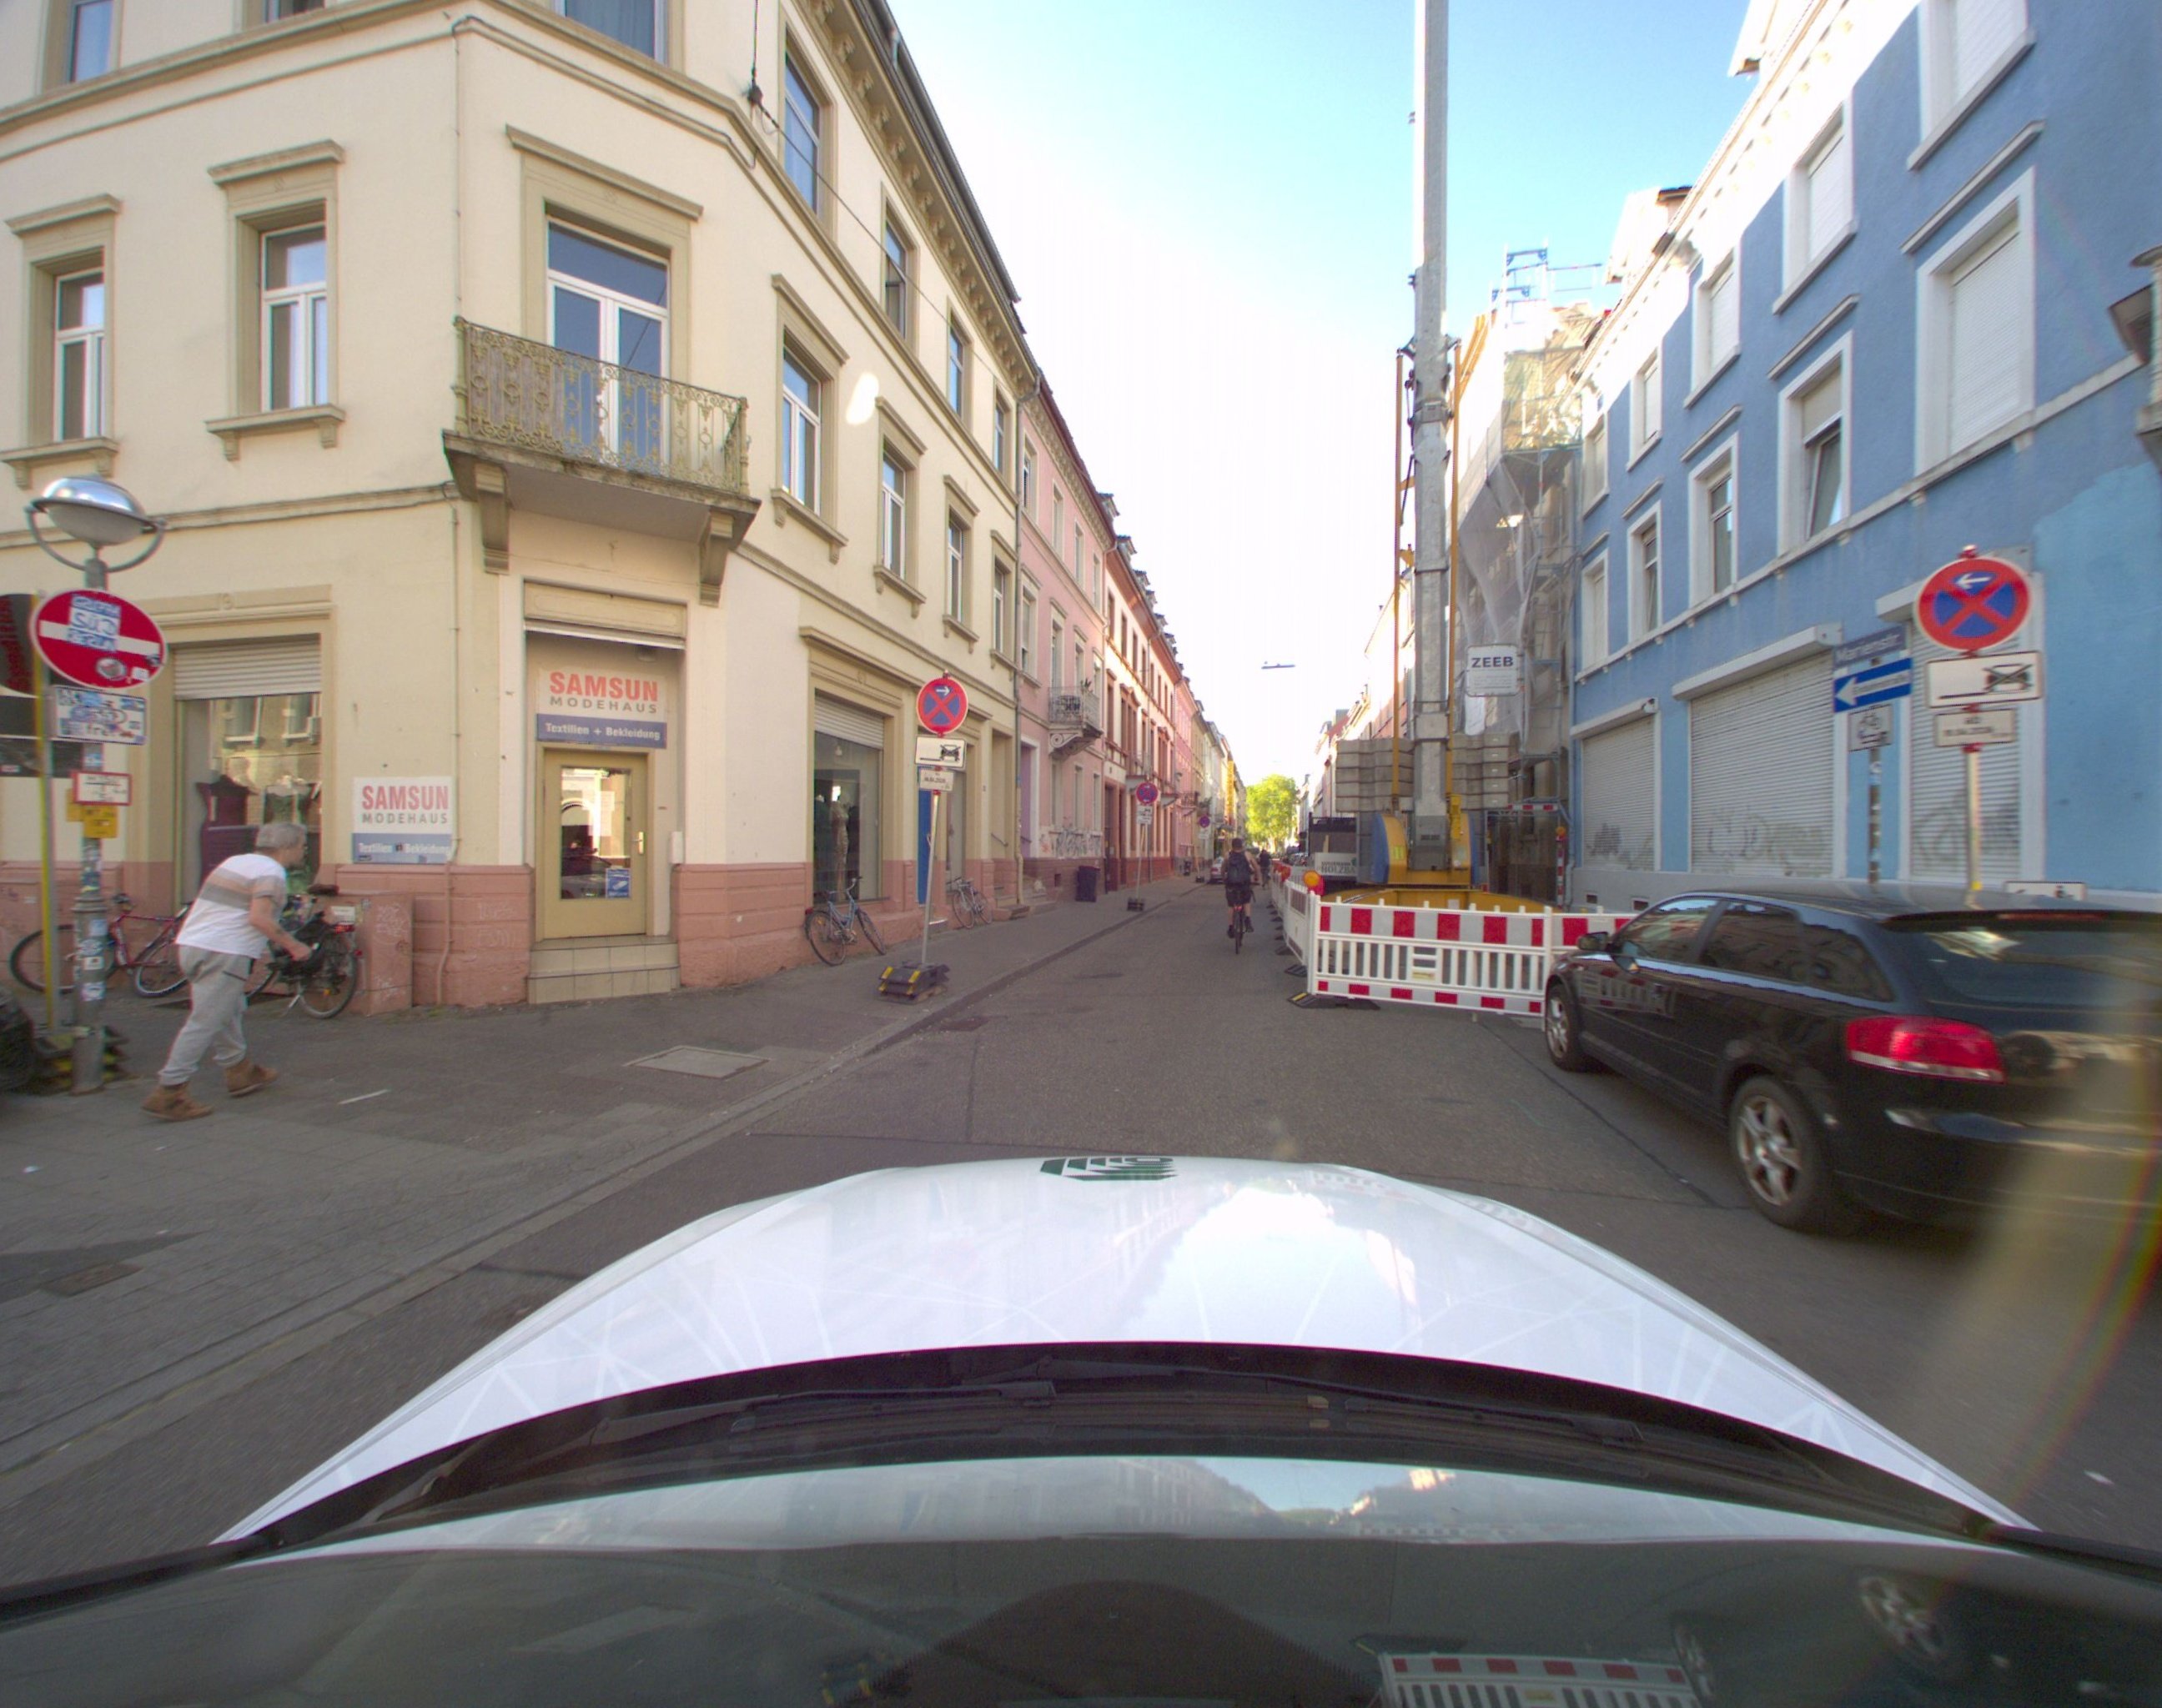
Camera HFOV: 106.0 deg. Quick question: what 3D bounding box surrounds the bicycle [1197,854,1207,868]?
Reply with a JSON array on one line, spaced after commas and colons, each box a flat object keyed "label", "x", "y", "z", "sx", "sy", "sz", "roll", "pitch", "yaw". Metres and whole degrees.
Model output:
[{"label": "bicycle", "x": 9.429, "y": 0.519, "z": 63.352, "sx": 0.588, "sy": 1.089, "sz": 2.086, "roll": 1, "pitch": 0, "yaw": 13}]

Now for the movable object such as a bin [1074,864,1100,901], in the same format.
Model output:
[{"label": "movable object such as a bin", "x": 0.179, "y": 0.813, "z": 23.465, "sx": 0.601, "sy": 1.035, "sz": 0.598, "roll": 1, "pitch": 0, "yaw": 12}]

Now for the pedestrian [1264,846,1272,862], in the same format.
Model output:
[{"label": "pedestrian", "x": 19.690, "y": -0.010, "z": 85.861, "sx": 0.766, "sy": 1.578, "sz": 0.903, "roll": 1, "pitch": 0, "yaw": 10}]

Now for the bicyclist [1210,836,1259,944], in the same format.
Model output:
[{"label": "bicyclist", "x": 2.459, "y": 0.553, "z": 12.957, "sx": 0.697, "sy": 1.633, "sz": 1.094, "roll": -1, "pitch": 0, "yaw": 13}]

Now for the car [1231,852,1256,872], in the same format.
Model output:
[{"label": "car", "x": 12.186, "y": 0.578, "z": 60.979, "sx": 1.660, "sy": 1.442, "sz": 4.180, "roll": -2, "pitch": 0, "yaw": 13}]

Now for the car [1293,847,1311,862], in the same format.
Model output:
[{"label": "car", "x": 23.179, "y": 0.034, "z": 85.538, "sx": 1.609, "sy": 1.550, "sz": 4.014, "roll": -2, "pitch": 0, "yaw": 13}]

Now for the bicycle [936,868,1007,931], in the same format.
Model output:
[{"label": "bicycle", "x": -1.991, "y": 0.807, "z": 15.061, "sx": 0.618, "sy": 1.022, "sz": 1.825, "roll": 3, "pitch": 1, "yaw": 14}]

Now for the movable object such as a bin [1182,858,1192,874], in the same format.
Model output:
[{"label": "movable object such as a bin", "x": 6.556, "y": 0.741, "z": 50.280, "sx": 0.540, "sy": 0.944, "sz": 0.489, "roll": 1, "pitch": 0, "yaw": 14}]

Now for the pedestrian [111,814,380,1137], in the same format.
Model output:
[{"label": "pedestrian", "x": -4.931, "y": 0.636, "z": 4.853, "sx": 0.689, "sy": 1.700, "sz": 0.868, "roll": 4, "pitch": 3, "yaw": 13}]

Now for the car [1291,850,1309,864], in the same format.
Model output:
[{"label": "car", "x": 24.376, "y": 0.336, "z": 90.689, "sx": 1.699, "sy": 1.393, "sz": 4.014, "roll": -2, "pitch": 0, "yaw": 13}]

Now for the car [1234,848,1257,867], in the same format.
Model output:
[{"label": "car", "x": 13.485, "y": 0.292, "z": 66.733, "sx": 1.660, "sy": 1.442, "sz": 3.781, "roll": -2, "pitch": 0, "yaw": 13}]

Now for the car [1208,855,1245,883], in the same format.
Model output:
[{"label": "car", "x": 7.925, "y": 0.787, "z": 44.080, "sx": 1.699, "sy": 1.383, "sz": 4.522, "roll": -2, "pitch": 0, "yaw": 13}]

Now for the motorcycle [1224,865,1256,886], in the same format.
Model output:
[{"label": "motorcycle", "x": 11.376, "y": 1.512, "z": 58.243, "sx": 2.143, "sy": 1.359, "sz": 0.539, "roll": -3, "pitch": 0, "yaw": -5}]

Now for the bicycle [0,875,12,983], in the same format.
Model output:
[{"label": "bicycle", "x": -12.373, "y": 0.776, "z": 8.670, "sx": 1.906, "sy": 1.122, "sz": 0.615, "roll": 1, "pitch": 0, "yaw": 19}]

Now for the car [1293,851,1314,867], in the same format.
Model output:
[{"label": "car", "x": 20.817, "y": 0.462, "z": 76.146, "sx": 1.699, "sy": 1.383, "sz": 4.014, "roll": -2, "pitch": 0, "yaw": 13}]

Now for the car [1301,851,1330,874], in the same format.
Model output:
[{"label": "car", "x": 17.291, "y": 0.606, "z": 60.269, "sx": 1.804, "sy": 1.521, "sz": 4.014, "roll": -2, "pitch": 0, "yaw": 13}]

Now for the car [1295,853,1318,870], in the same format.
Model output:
[{"label": "car", "x": 19.580, "y": 0.633, "z": 70.815, "sx": 1.699, "sy": 1.383, "sz": 4.014, "roll": -2, "pitch": 0, "yaw": 13}]

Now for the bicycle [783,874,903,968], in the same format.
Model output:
[{"label": "bicycle", "x": -3.028, "y": 0.816, "z": 10.558, "sx": 0.599, "sy": 1.022, "sz": 1.825, "roll": 4, "pitch": 1, "yaw": 14}]

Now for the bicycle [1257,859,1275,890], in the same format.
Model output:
[{"label": "bicycle", "x": 7.913, "y": 0.845, "z": 34.836, "sx": 0.697, "sy": 1.207, "sz": 2.350, "roll": -1, "pitch": 1, "yaw": 13}]

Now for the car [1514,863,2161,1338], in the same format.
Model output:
[{"label": "car", "x": 4.000, "y": 0.818, "z": 4.562, "sx": 1.759, "sy": 1.434, "sz": 4.048, "roll": 1, "pitch": 1, "yaw": 13}]

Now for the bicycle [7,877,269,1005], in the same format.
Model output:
[{"label": "bicycle", "x": -8.792, "y": 0.781, "z": 7.621, "sx": 1.911, "sy": 1.070, "sz": 0.613, "roll": 1, "pitch": 0, "yaw": 7}]

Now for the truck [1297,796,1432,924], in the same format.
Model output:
[{"label": "truck", "x": 7.290, "y": 0.105, "z": 21.858, "sx": 2.643, "sy": 2.814, "sz": 7.420, "roll": 1, "pitch": 0, "yaw": 14}]

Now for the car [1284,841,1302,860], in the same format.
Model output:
[{"label": "car", "x": 30.512, "y": -0.510, "z": 117.307, "sx": 2.292, "sy": 2.538, "sz": 6.794, "roll": -2, "pitch": 0, "yaw": 13}]

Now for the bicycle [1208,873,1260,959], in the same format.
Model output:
[{"label": "bicycle", "x": 2.500, "y": 0.934, "z": 13.130, "sx": 0.697, "sy": 1.208, "sz": 2.350, "roll": -1, "pitch": 0, "yaw": 13}]

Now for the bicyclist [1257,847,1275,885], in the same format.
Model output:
[{"label": "bicyclist", "x": 7.905, "y": 0.513, "z": 34.844, "sx": 0.697, "sy": 1.605, "sz": 0.815, "roll": -1, "pitch": 1, "yaw": 12}]

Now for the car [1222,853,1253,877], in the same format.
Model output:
[{"label": "car", "x": 10.491, "y": 0.712, "z": 54.526, "sx": 1.698, "sy": 1.383, "sz": 4.374, "roll": 0, "pitch": 1, "yaw": 15}]

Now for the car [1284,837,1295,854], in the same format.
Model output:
[{"label": "car", "x": 48.153, "y": -2.023, "z": 188.249, "sx": 2.292, "sy": 3.768, "sz": 6.794, "roll": -2, "pitch": 0, "yaw": 13}]

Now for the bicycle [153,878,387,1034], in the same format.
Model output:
[{"label": "bicycle", "x": -6.943, "y": 0.813, "z": 6.970, "sx": 1.906, "sy": 1.148, "sz": 0.615, "roll": 1, "pitch": 0, "yaw": 19}]

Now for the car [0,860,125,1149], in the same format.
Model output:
[{"label": "car", "x": -7.624, "y": 0.768, "z": 4.078, "sx": 4.115, "sy": 1.455, "sz": 1.764, "roll": 0, "pitch": 1, "yaw": 9}]

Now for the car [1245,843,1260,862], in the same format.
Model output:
[{"label": "car", "x": 22.576, "y": -0.235, "z": 107.375, "sx": 1.897, "sy": 2.496, "sz": 4.178, "roll": -1, "pitch": 0, "yaw": 11}]

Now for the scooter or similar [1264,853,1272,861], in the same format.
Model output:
[{"label": "scooter or similar", "x": 19.599, "y": 0.335, "z": 85.348, "sx": 0.766, "sy": 0.872, "sz": 0.773, "roll": 1, "pitch": 0, "yaw": 10}]

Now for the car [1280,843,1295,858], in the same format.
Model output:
[{"label": "car", "x": 36.049, "y": -0.577, "z": 142.233, "sx": 2.292, "sy": 2.538, "sz": 6.794, "roll": -2, "pitch": 0, "yaw": 13}]
